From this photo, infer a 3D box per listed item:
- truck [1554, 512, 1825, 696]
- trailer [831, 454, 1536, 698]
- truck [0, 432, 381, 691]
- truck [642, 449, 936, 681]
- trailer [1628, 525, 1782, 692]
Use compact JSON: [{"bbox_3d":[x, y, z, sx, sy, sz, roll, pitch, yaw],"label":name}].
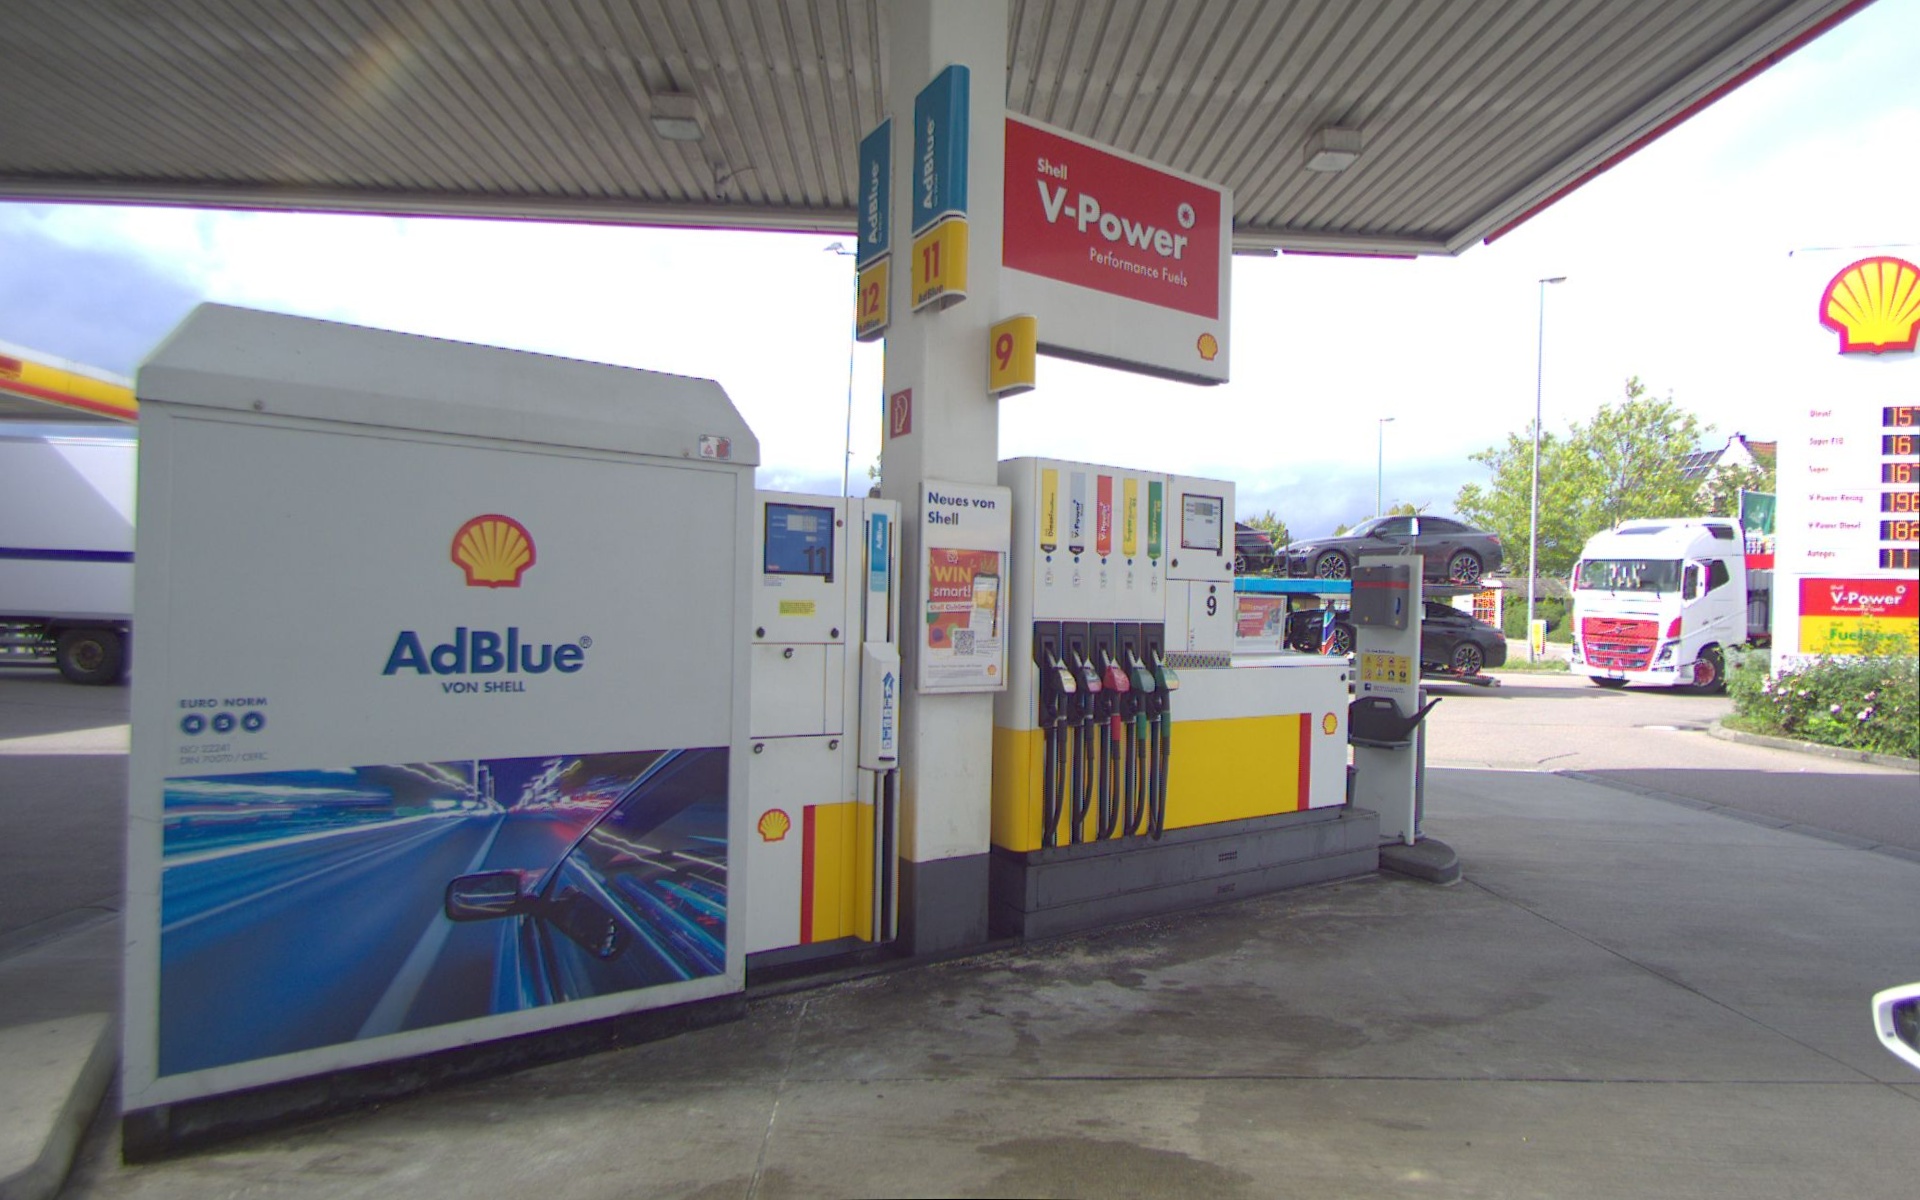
[{"bbox_3d":[17.284,0.160,23.787,5.840,3.897,2.723,2,0,-26],"label":"truck"},{"bbox_3d":[4.512,-0.461,21.582,14.077,4.481,2.746,2,0,0],"label":"trailer"},{"bbox_3d":[-17.314,-0.731,17.498,12.654,4.092,2.534,2,0,-3],"label":"truck"},{"bbox_3d":[-3.463,-0.697,21.543,5.713,4.479,2.750,2,0,0],"label":"truck"},{"bbox_3d":[21.120,0.305,29.090,2.692,3.826,12.679,2,0,33],"label":"trailer"}]
